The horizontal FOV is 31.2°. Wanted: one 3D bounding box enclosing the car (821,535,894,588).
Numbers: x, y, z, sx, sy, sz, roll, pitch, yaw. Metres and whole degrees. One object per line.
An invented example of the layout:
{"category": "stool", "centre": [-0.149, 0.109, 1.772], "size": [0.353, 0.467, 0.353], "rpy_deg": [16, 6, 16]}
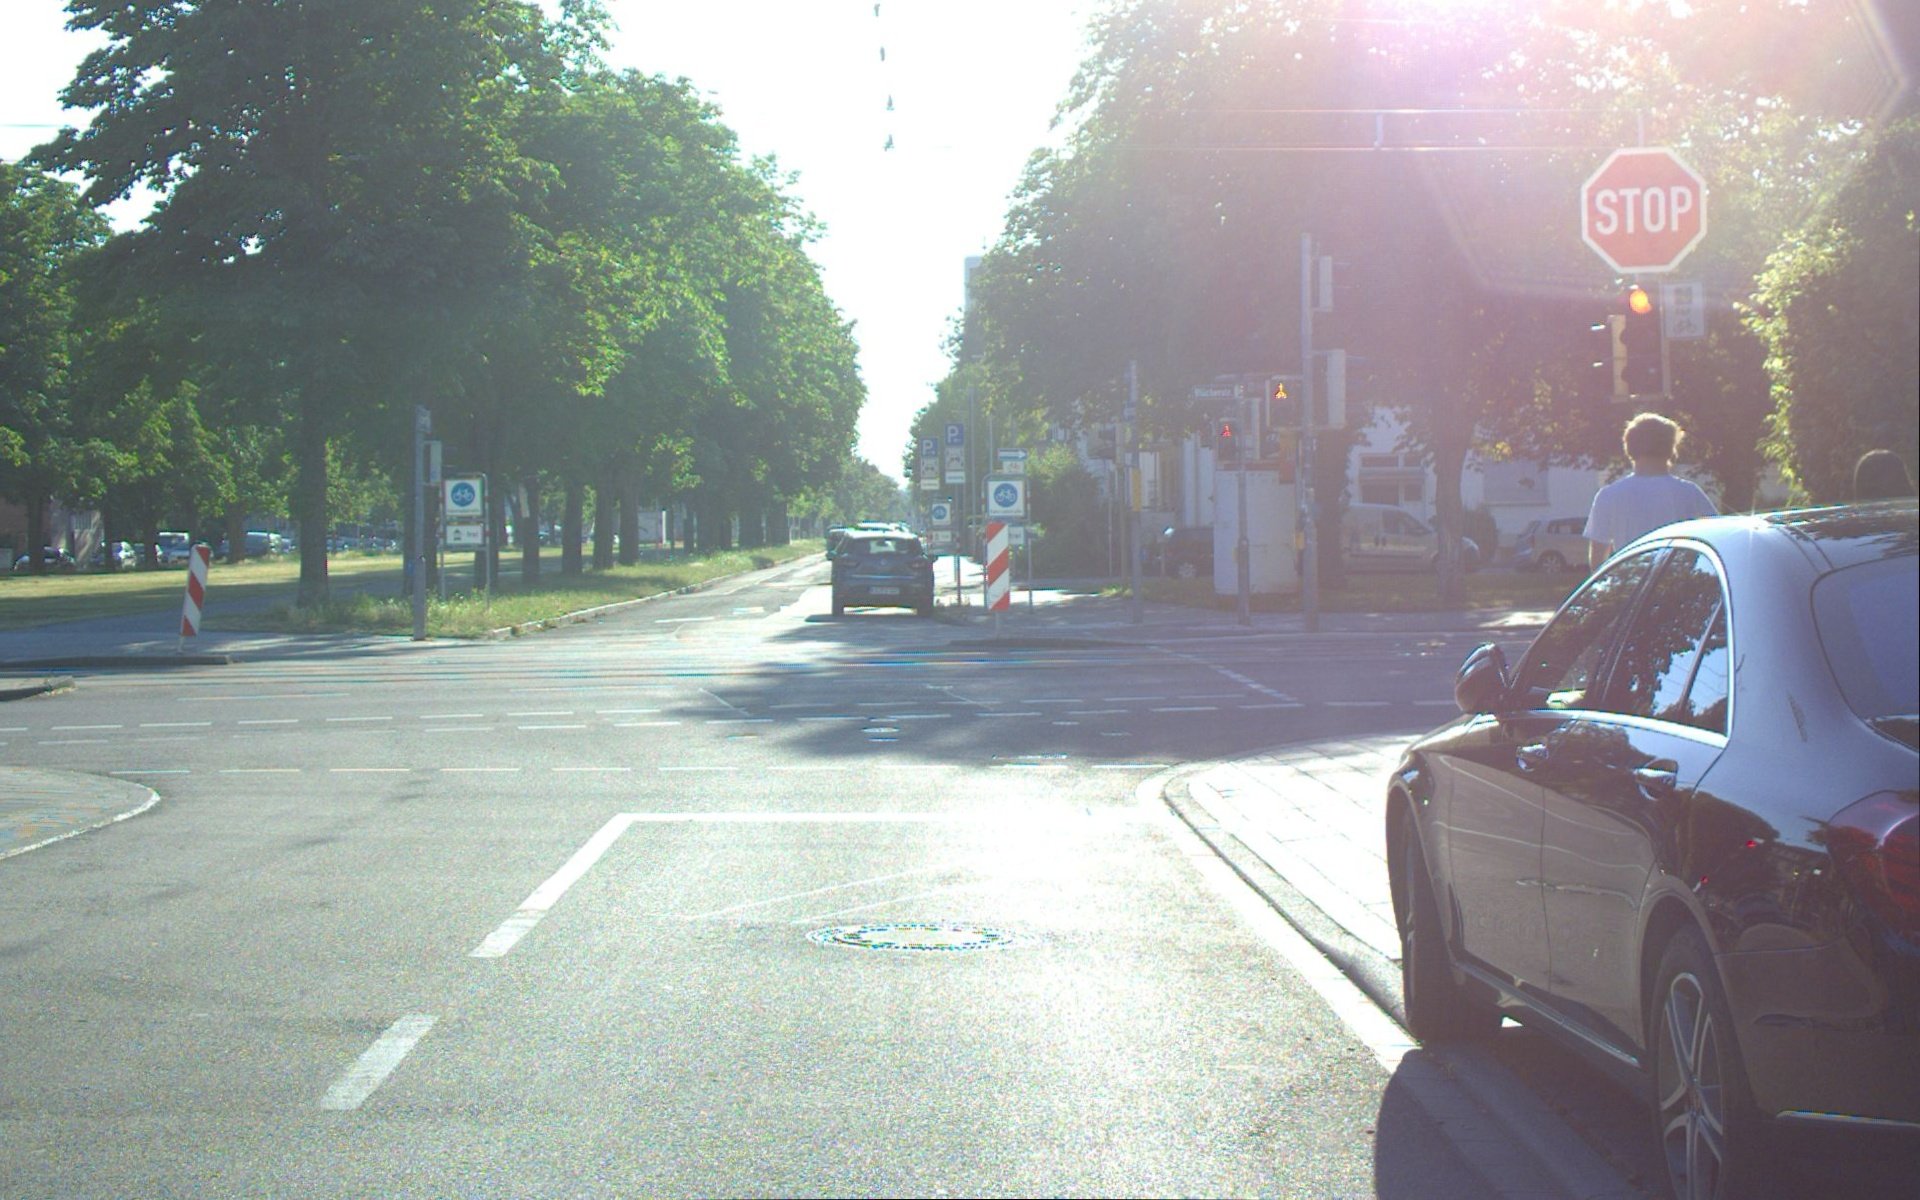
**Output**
{"category": "car", "centre": [-2.740, -1.052, 92.660], "size": [1.845, 1.389, 3.829], "rpy_deg": [0, 1, 0]}

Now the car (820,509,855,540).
{"category": "car", "centre": [-7.937, -4.909, 223.114], "size": [2.134, 2.007, 3.902], "rpy_deg": [0, 1, 0]}

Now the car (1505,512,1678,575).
{"category": "car", "centre": [14.623, -1.305, 79.682], "size": [3.662, 1.422, 1.532], "rpy_deg": [0, 1, -5]}

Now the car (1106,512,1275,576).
{"category": "car", "centre": [5.323, -1.305, 79.634], "size": [3.779, 1.422, 1.744], "rpy_deg": [0, 3, -1]}

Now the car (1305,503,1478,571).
{"category": "car", "centre": [10.002, -1.472, 79.854], "size": [3.779, 1.520, 1.744], "rpy_deg": [0, 3, -1]}

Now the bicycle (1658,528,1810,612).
{"category": "bicycle", "centre": [10.657, -0.412, 47.373], "size": [1.954, 1.128, 0.620], "rpy_deg": [-1, 1, 2]}

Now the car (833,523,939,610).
{"category": "car", "centre": [-1.240, -0.593, 58.673], "size": [1.641, 1.446, 3.307], "rpy_deg": [0, 1, 2]}

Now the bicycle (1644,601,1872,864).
{"category": "bicycle", "centre": [3.611, 0.569, 15.681], "size": [0.487, 1.093, 1.791], "rpy_deg": [0, 1, -5]}

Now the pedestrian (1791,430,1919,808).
{"category": "pedestrian", "centre": [4.248, 0.078, 15.809], "size": [0.669, 1.702, 0.623], "rpy_deg": [0, 1, -3]}

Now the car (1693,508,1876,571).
{"category": "car", "centre": [19.258, -1.420, 80.361], "size": [3.845, 1.422, 1.598], "rpy_deg": [0, 1, -5]}

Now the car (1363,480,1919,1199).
{"category": "car", "centre": [2.263, 0.517, 7.989], "size": [1.859, 1.537, 4.874], "rpy_deg": [-1, 1, -3]}

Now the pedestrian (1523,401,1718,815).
{"category": "pedestrian", "centre": [3.037, 0.029, 15.879], "size": [0.670, 1.859, 0.882], "rpy_deg": [0, 1, -4]}
